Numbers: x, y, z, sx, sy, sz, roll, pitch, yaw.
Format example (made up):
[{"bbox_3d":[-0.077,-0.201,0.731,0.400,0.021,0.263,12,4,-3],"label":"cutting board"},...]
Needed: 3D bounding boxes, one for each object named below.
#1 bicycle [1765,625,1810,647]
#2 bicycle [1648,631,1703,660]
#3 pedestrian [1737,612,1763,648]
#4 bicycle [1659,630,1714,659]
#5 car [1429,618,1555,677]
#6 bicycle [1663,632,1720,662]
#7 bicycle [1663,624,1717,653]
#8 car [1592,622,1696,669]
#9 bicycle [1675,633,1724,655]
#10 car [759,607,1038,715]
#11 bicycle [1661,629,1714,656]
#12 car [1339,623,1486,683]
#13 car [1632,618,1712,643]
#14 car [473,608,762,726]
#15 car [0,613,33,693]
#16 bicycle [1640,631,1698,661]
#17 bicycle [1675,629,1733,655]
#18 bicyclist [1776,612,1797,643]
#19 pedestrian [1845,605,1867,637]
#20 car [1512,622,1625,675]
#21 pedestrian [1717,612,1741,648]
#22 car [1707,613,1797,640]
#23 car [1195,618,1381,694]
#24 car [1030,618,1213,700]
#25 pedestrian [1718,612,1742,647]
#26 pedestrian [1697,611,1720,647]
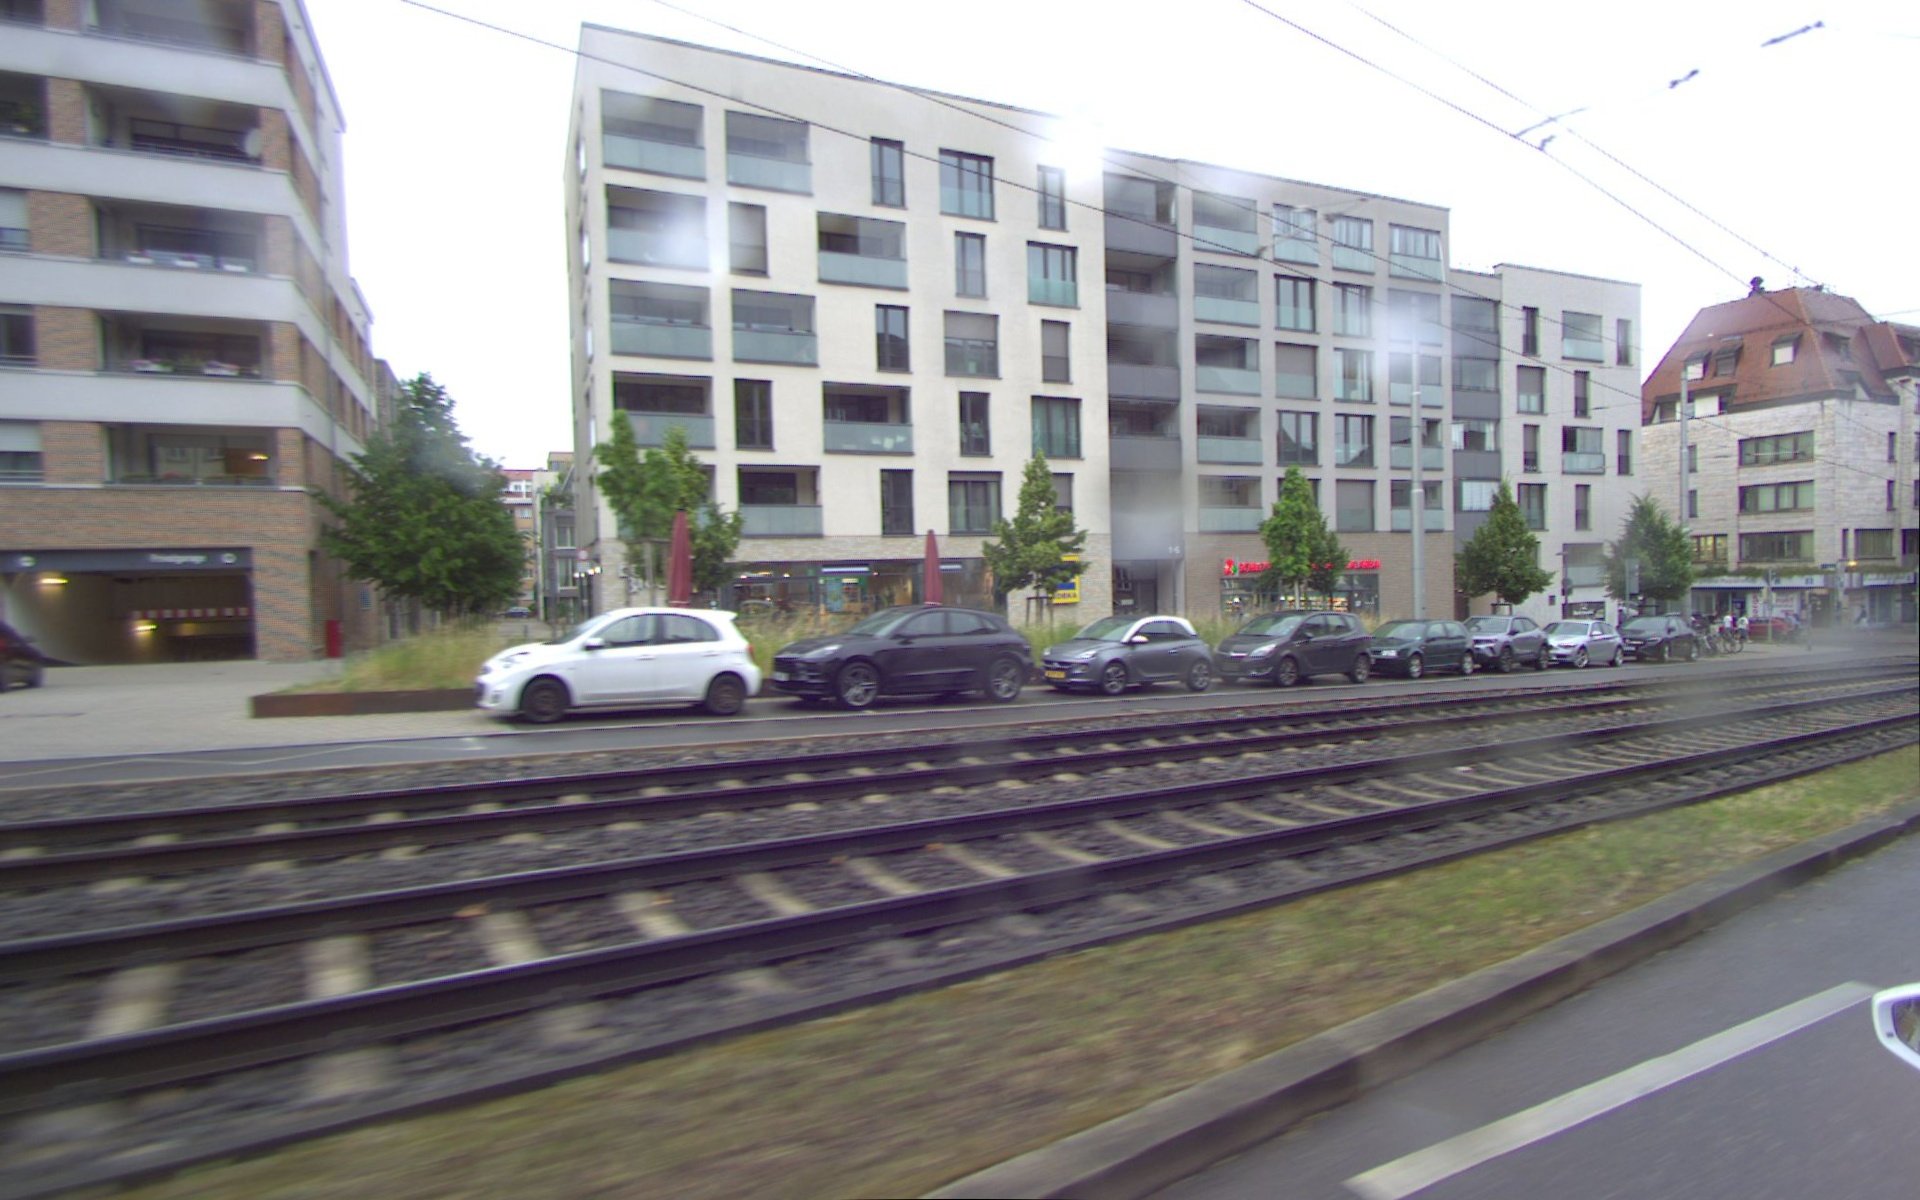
[{"bbox_3d":[43.301,1.875,52.570,1.767,1.078,0.457,1,1,19],"label":"bicycle"},{"bbox_3d":[29.098,1.827,40.864,0.480,1.086,1.759,1,1,-32],"label":"bicycle"},{"bbox_3d":[44.597,1.688,56.705,0.757,2.040,0.935,1,0,-35],"label":"pedestrian"},{"bbox_3d":[29.920,1.832,41.368,1.776,1.078,0.455,2,1,41],"label":"bicycle"},{"bbox_3d":[15.020,1.294,28.285,3.887,1.524,1.759,1,-1,-39],"label":"car"},{"bbox_3d":[28.832,1.844,39.590,1.776,1.078,0.455,2,1,41],"label":"bicycle"},{"bbox_3d":[30.517,1.610,42.021,1.773,1.123,0.454,2,1,36],"label":"bicycle"},{"bbox_3d":[24.040,1.553,35.246,4.200,1.524,1.897,1,-1,-39],"label":"car"},{"bbox_3d":[31.941,1.889,43.416,0.565,0.877,1.633,0,1,-45],"label":"bicycle"},{"bbox_3d":[-0.944,0.941,16.646,4.361,1.582,1.754,1,-1,-35],"label":"car"},{"bbox_3d":[31.160,1.807,43.056,1.777,1.078,0.566,2,1,43],"label":"bicycle"},{"bbox_3d":[11.441,1.291,25.314,3.969,1.380,1.539,1,0,-35],"label":"car"},{"bbox_3d":[48.535,2.066,68.553,1.799,1.589,4.120,1,0,-26],"label":"car"},{"bbox_3d":[-4.879,0.887,14.353,3.688,1.498,1.758,1,-1,-28],"label":"car"},{"bbox_3d":[-19.189,0.982,19.184,1.747,1.453,3.958,1,-2,-37],"label":"car"},{"bbox_3d":[27.717,1.789,39.300,1.778,1.078,0.454,2,1,45],"label":"bicycle"},{"bbox_3d":[32.782,1.836,44.262,0.716,1.041,1.930,0,1,-43],"label":"bicycle"},{"bbox_3d":[43.280,1.457,52.579,0.688,1.595,0.462,1,0,19],"label":"bicyclist"},{"bbox_3d":[55.888,1.319,62.647,0.818,1.957,0.898,1,0,-38],"label":"pedestrian"},{"bbox_3d":[18.890,1.458,31.120,4.048,1.524,1.759,1,-1,-39],"label":"car"},{"bbox_3d":[44.059,1.689,57.561,0.758,2.040,0.934,1,0,-39],"label":"pedestrian"},{"bbox_3d":[50.447,1.655,64.050,1.799,1.589,4.120,1,0,-26],"label":"car"},{"bbox_3d":[7.312,1.179,22.275,4.275,1.533,1.708,1,-1,-35],"label":"car"},{"bbox_3d":[3.181,1.090,19.569,3.416,1.454,1.539,1,-1,-35],"label":"car"},{"bbox_3d":[45.235,1.710,59.006,0.758,2.040,0.934,1,0,-39],"label":"pedestrian"},{"bbox_3d":[43.931,1.698,58.961,0.758,2.040,0.934,1,0,-39],"label":"pedestrian"}]
